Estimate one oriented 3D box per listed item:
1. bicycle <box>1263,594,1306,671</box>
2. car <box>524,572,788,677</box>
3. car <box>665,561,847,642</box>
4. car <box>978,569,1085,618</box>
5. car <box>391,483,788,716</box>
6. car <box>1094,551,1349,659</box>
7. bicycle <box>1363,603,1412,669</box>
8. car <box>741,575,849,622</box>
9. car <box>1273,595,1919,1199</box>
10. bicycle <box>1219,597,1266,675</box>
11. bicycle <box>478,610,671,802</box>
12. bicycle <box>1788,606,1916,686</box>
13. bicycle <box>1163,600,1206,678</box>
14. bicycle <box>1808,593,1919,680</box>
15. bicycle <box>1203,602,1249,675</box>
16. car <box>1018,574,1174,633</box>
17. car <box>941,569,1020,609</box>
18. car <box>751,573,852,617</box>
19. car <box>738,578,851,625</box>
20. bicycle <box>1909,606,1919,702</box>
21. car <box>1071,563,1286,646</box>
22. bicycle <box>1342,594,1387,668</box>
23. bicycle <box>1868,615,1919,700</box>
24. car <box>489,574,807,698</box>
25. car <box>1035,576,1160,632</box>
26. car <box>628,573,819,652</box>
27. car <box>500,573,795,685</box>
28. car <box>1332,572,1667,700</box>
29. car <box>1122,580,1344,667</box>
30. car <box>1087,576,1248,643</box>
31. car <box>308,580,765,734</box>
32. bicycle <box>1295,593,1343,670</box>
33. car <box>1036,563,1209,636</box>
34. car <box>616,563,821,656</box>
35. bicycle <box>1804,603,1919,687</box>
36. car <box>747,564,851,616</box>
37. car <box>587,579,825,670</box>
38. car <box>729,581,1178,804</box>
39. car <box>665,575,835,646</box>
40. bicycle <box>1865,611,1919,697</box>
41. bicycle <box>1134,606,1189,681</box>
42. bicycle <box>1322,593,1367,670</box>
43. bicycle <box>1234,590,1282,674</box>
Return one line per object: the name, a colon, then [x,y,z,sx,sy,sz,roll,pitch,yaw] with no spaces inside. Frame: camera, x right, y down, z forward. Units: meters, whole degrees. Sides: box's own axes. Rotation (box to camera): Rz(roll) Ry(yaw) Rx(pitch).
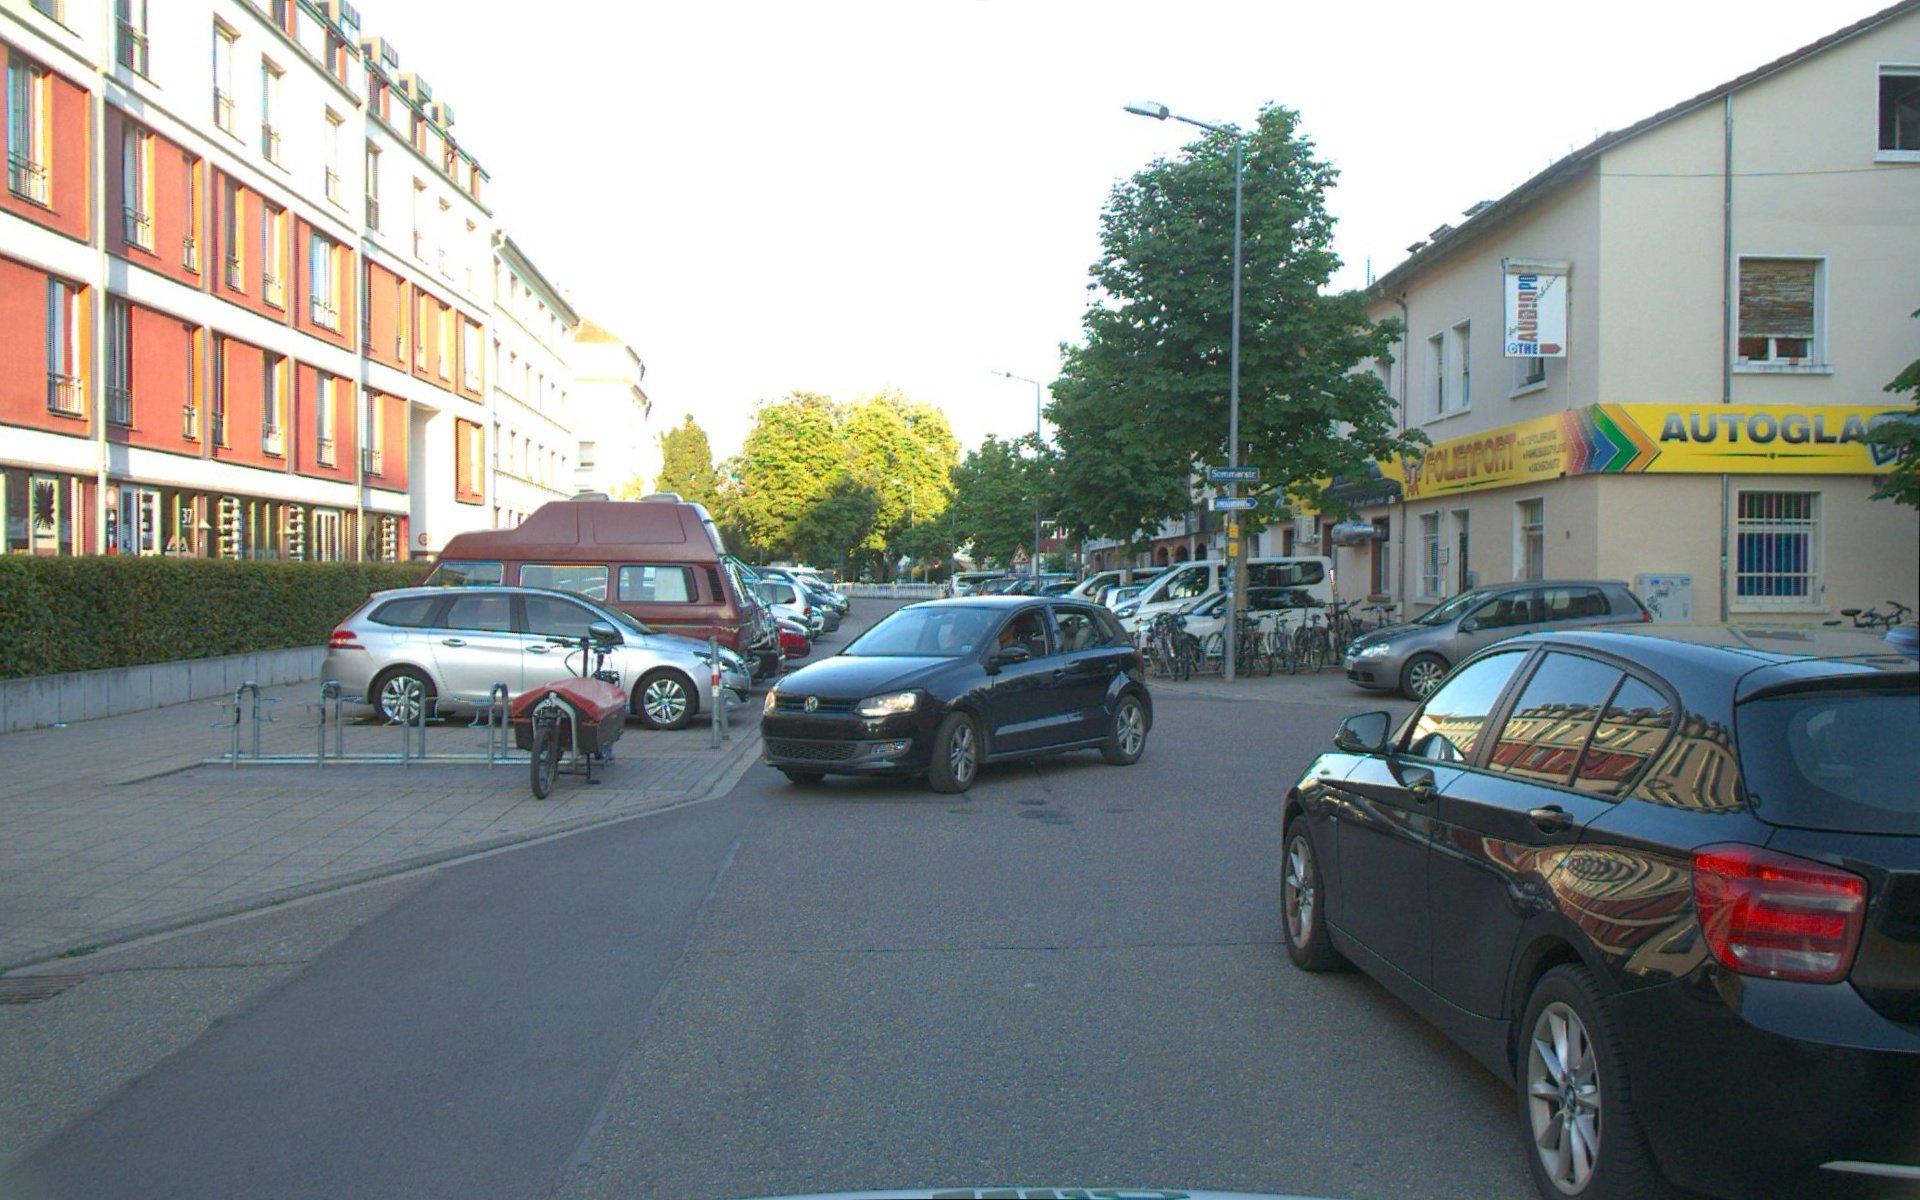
bicycle: [5.349,0.519,27.327,0.378,1.221,1.481,-1,1,-1]
car: [-5.049,0.389,27.952,4.125,1.603,1.999,2,0,-4]
car: [-5.547,0.025,45.524,4.753,2.056,1.906,2,0,-2]
car: [3.090,-0.283,72.013,4.393,1.945,1.685,-2,0,-7]
car: [-4.485,-0.015,20.569,4.419,2.629,2.000,2,0,0]
car: [5.353,0.088,34.398,4.889,2.018,2.219,-2,0,-1]
bicycle: [7.085,0.579,27.461,0.380,1.035,1.481,-1,1,-1]
car: [-6.606,-0.081,66.592,4.171,1.744,1.999,2,0,-2]
car: [2.286,0.749,5.104,1.687,1.449,4.252,1,1,-2]
bicycle: [4.678,0.572,27.456,0.378,1.221,2.017,-1,1,-1]
bicycle: [-2.885,0.733,12.744,0.791,1.242,2.865,2,1,0]
bicycle: [12.271,0.628,22.768,1.570,1.037,0.343,1,3,-3]
bicycle: [3.703,0.626,27.409,0.378,1.221,2.017,-1,1,-1]
bicycle: [12.968,0.510,23.310,1.822,1.169,0.344,1,3,-1]
bicycle: [4.398,0.620,27.461,0.378,1.133,2.017,-1,1,-1]
car: [4.434,0.100,54.482,4.846,1.718,2.076,-2,1,-3]
car: [1.073,-0.573,87.463,3.892,1.945,2.046,-2,0,-7]
car: [-6.793,-0.221,71.359,4.171,1.780,1.999,2,0,-2]
car: [-6.363,0.039,63.858,4.171,1.650,1.999,2,0,-3]
bicycle: [12.507,0.671,20.045,1.883,1.148,0.427,1,1,-10]
car: [5.189,0.098,39.739,4.843,1.772,2.049,-2,1,-1]
bicycle: [6.689,0.498,27.404,0.346,1.163,1.481,-1,1,-1]
bicycle: [12.393,0.730,20.681,1.812,1.027,0.428,1,3,-1]
car: [-4.266,0.483,23.148,4.125,1.565,1.790,2,0,-4]
car: [4.909,0.129,59.403,4.231,1.835,1.810,-2,0,-3]
car: [-5.459,0.272,38.616,4.171,1.689,1.999,2,0,-2]
car: [-4.790,0.420,25.699,4.121,1.565,1.843,2,0,4]
car: [7.223,0.457,22.414,3.968,1.540,1.756,-1,2,-1]
car: [5.167,0.416,31.607,3.841,1.476,1.767,-2,1,-4]
car: [5.269,0.237,42.375,3.832,1.552,1.939,-2,1,-1]
car: [-4.451,0.587,17.996,4.525,1.485,1.879,2,0,-5]
bicycle: [5.916,0.505,27.310,0.436,1.221,1.481,-1,1,-1]
car: [4.829,-0.018,49.616,4.846,1.992,2.048,-2,0,-3]
car: [-5.207,0.190,36.150,4.171,1.868,1.999,2,0,-2]
bicycle: [12.379,0.608,22.422,1.696,1.088,0.343,1,3,-3]
car: [-7.155,-0.456,73.984,4.442,2.171,1.999,2,0,-2]
car: [-4.652,0.434,30.746,4.124,1.516,1.849,2,0,-1]
car: [0.095,0.605,13.356,1.625,1.480,3.926,0,1,36]
car: [-5.405,0.257,42.974,4.171,1.681,1.887,2,0,-2]
bicycle: [12.500,0.703,21.212,1.569,1.059,0.344,1,3,-1]
bicycle: [3.300,0.699,27.212,0.430,1.150,2.014,-1,1,-7]
bicycle: [6.337,0.501,27.313,0.346,1.221,1.481,-1,1,-1]
bicycle: [4.933,0.506,27.472,0.378,1.327,2.017,-1,1,-1]
